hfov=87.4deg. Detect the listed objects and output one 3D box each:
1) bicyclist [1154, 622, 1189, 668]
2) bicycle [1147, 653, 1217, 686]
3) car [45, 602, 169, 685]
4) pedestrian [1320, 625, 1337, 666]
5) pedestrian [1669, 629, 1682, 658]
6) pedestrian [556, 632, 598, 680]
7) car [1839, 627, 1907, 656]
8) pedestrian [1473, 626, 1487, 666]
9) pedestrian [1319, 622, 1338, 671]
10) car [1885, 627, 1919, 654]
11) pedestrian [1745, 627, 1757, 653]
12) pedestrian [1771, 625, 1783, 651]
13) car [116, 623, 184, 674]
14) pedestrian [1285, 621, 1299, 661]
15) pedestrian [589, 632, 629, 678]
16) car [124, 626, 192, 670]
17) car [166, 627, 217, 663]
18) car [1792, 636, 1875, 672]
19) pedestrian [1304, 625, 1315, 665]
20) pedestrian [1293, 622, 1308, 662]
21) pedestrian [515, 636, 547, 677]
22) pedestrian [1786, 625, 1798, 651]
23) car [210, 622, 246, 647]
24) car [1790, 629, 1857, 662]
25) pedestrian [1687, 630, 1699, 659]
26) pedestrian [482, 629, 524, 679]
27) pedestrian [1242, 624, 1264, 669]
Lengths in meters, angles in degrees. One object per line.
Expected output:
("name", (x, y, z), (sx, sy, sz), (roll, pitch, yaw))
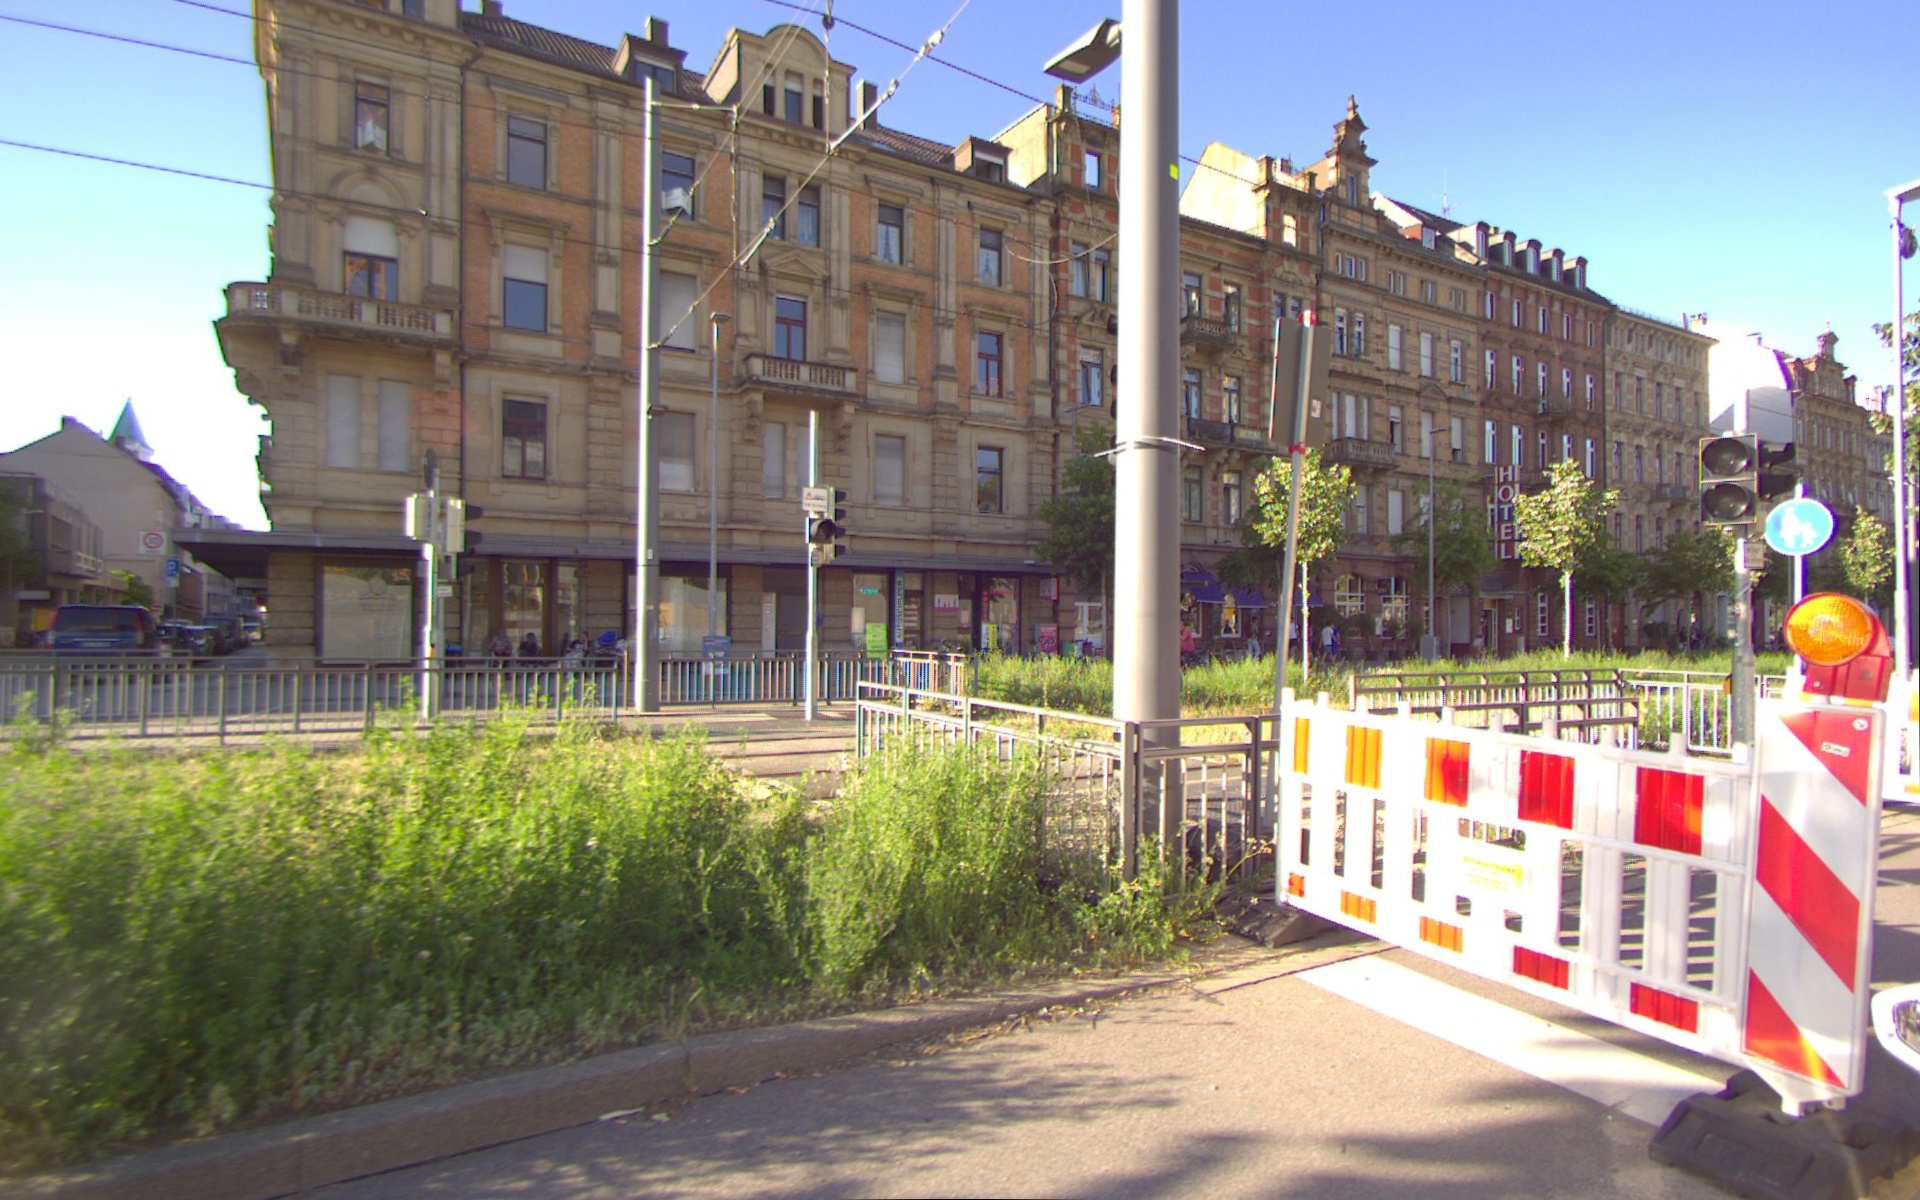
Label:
("bicyclist", (5.876, 1.243, 27.909), (0.729, 1.256, 0.634), (1, -1, -29))
("bicycle", (6.217, 1.941, 28.097), (2.007, 0.869, 0.634), (1, -2, -30))
("car", (-21.604, 1.078, 25.606), (1.879, 1.928, 4.482), (1, -2, -34))
("pedestrian", (14.631, 1.818, 39.865), (0.421, 1.606, 0.401), (1, 1, -30))
("pedestrian", (40.122, 2.447, 56.305), (0.381, 1.606, 0.431), (1, 1, -33))
("pedestrian", (-10.085, 1.458, 26.439), (0.918, 1.224, 0.788), (1, -1, -29))
("car", (51.457, 2.334, 56.594), (4.660, 1.583, 1.559), (1, -2, -31))
("pedestrian", (23.566, 2.064, 45.548), (0.401, 1.788, 0.365), (1, 1, -30))
("pedestrian", (13.932, 1.755, 37.970), (0.401, 1.788, 0.505), (1, 1, -30))
("car", (56.902, 2.398, 59.756), (4.661, 1.583, 1.558), (1, -2, -31))
("pedestrian", (48.297, 2.435, 61.342), (0.431, 1.606, 0.457), (1, 1, -37))
("pedestrian", (50.084, 2.316, 61.591), (0.430, 1.555, 0.403), (1, 1, -30))
("car", (-25.152, 1.480, 31.267), (1.370, 1.487, 3.125), (1, -2, -34))
("pedestrian", (13.470, 1.666, 40.738), (0.383, 1.606, 0.386), (2, 0, 0))
("pedestrian", (-9.571, 1.494, 27.385), (0.918, 1.224, 0.687), (1, -1, -29))
("car", (-27.457, 1.623, 34.448), (1.564, 1.427, 3.034), (1, -2, -34))
("car", (-31.742, 1.826, 41.525), (1.470, 1.427, 3.034), (1, -2, -34))
("car", (37.478, 2.291, 43.100), (3.579, 1.502, 1.588), (1, -2, -29))
("pedestrian", (14.155, 1.815, 40.695), (0.361, 1.606, 0.406), (2, 0, 20))
("pedestrian", (13.820, 1.706, 40.765), (0.474, 1.606, 0.482), (2, 0, 23))
("pedestrian", (-11.550, 1.511, 27.039), (0.727, 1.073, 0.687), (1, -1, -29))
("pedestrian", (50.334, 2.306, 60.798), (0.430, 1.553, 0.403), (1, 1, -30))
("car", (-43.874, 2.049, 60.267), (1.583, 1.427, 3.330), (1, -2, -34))
("car", (45.292, 2.371, 52.700), (3.765, 1.697, 1.559), (1, -2, -31))
("pedestrian", (40.640, 2.453, 55.677), (0.335, 1.606, 0.427), (1, 1, -29))
("pedestrian", (-11.772, 1.383, 25.893), (0.918, 1.263, 0.687), (1, -1, -29))
("pedestrian", (10.668, 1.695, 36.599), (0.527, 1.606, 0.484), (1, 0, -30))
